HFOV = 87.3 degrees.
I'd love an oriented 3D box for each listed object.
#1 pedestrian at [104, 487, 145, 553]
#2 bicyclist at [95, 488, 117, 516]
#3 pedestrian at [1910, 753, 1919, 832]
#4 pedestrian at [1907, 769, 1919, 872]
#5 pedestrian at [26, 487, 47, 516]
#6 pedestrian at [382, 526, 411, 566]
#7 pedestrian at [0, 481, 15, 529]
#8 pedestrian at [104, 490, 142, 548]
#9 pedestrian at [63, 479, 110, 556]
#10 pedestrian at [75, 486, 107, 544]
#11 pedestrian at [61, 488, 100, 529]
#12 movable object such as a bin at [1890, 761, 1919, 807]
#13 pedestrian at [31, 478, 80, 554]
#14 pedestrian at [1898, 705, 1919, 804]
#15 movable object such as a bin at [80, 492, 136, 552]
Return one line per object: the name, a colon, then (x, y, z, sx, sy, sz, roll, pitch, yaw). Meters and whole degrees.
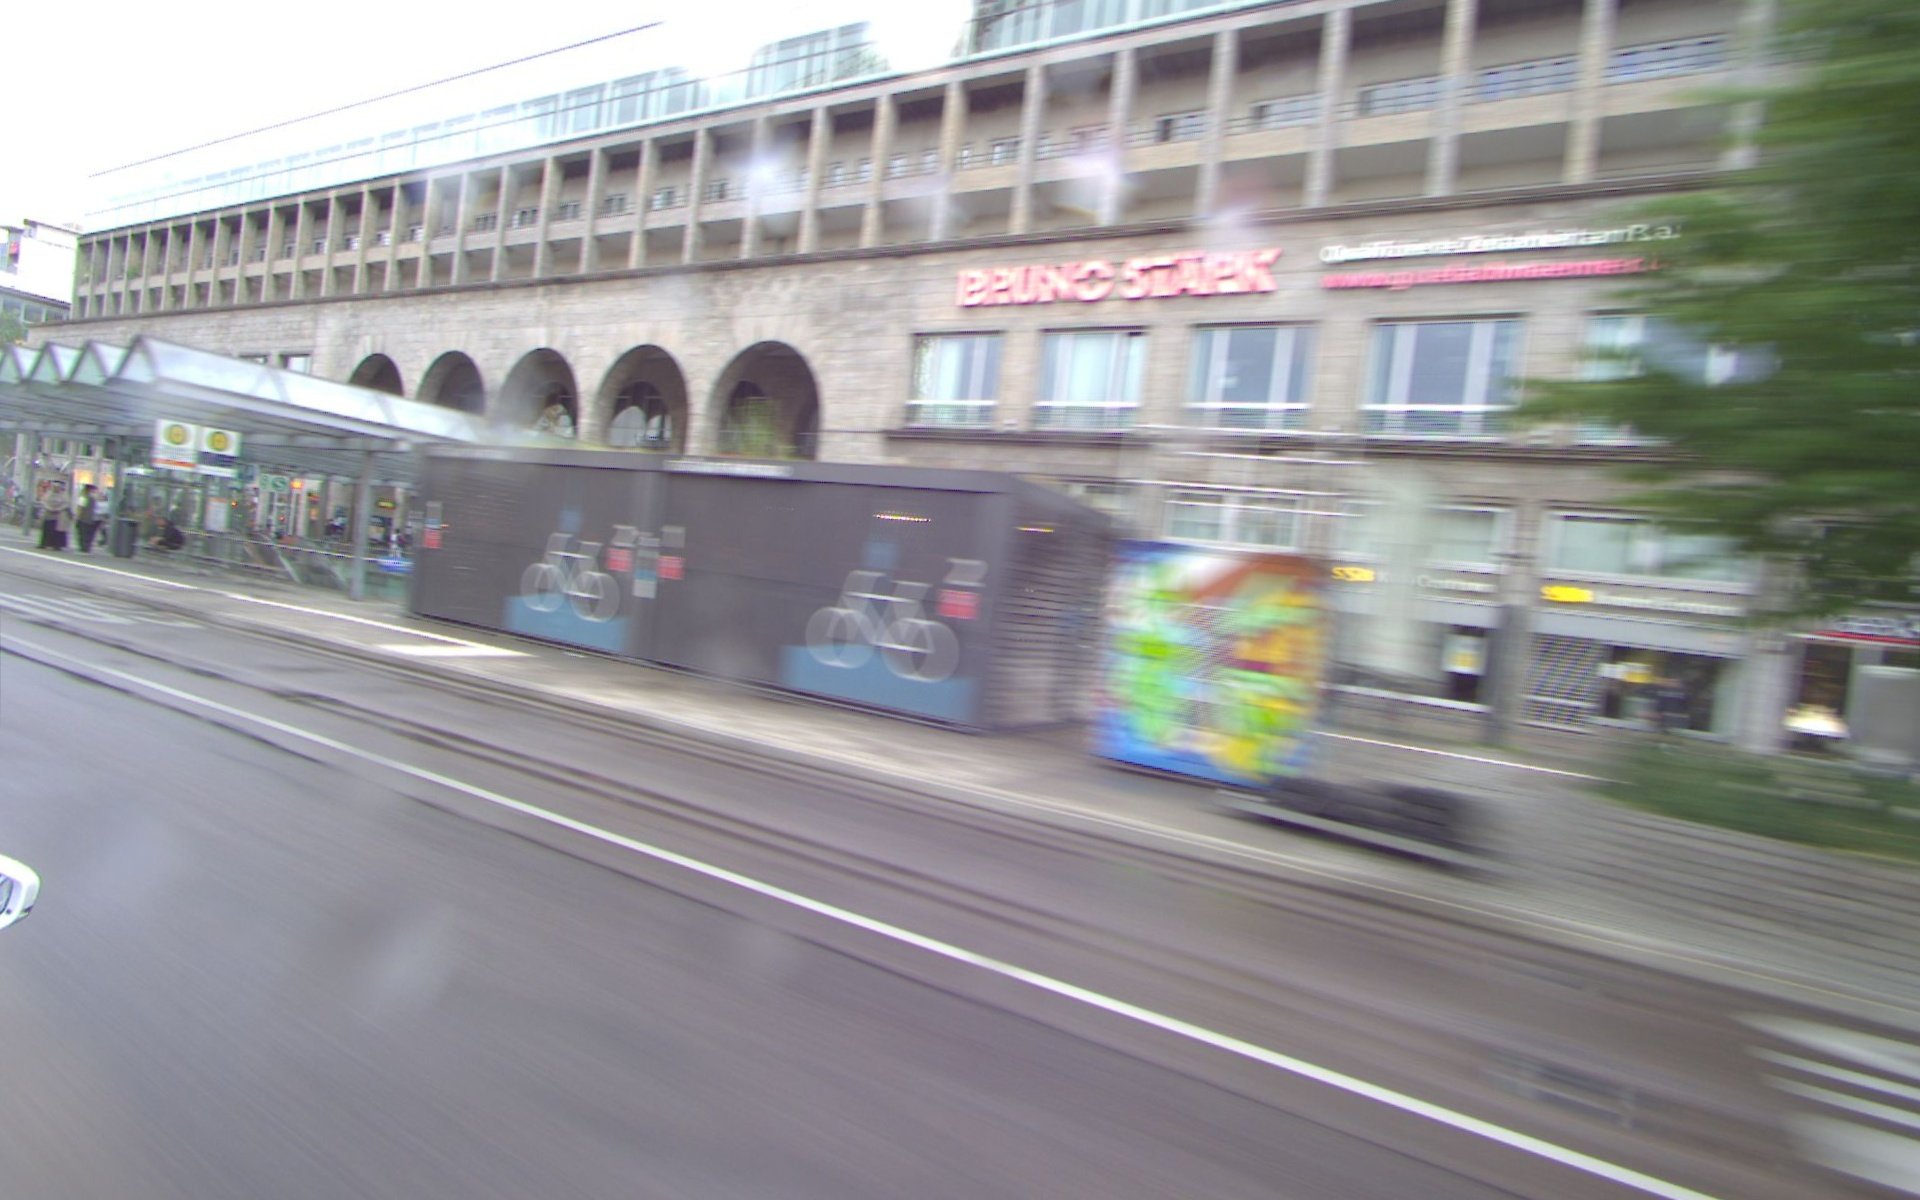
pedestrian: (-24.942, -2.378, 30.030, 0.748, 1.859, 0.752, 7, 0, -44)
bicyclist: (-50.783, -5.829, 59.819, 0.892, 1.574, 0.650, 7, 1, 32)
pedestrian: (13.527, 2.328, 13.661, 0.625, 1.772, 0.532, 7, 0, 29)
pedestrian: (10.125, 1.886, 9.764, 1.058, 1.772, 0.641, 7, 0, 29)
pedestrian: (-62.330, -6.653, 67.865, 0.775, 1.815, 0.732, 7, 1, 29)
pedestrian: (-25.803, -2.468, 46.065, 0.740, 1.731, 0.760, 7, 0, 30)
pedestrian: (-35.772, -3.581, 37.304, 0.887, 1.716, 0.749, 7, 0, 33)
pedestrian: (-28.838, -2.788, 34.671, 0.582, 1.853, 0.607, 7, 0, 1)
pedestrian: (-22.536, -2.119, 25.961, 0.631, 1.859, 0.628, 7, 0, 32)
pedestrian: (-29.825, -2.923, 34.529, 0.616, 1.882, 0.606, 7, 1, 39)
pedestrian: (-40.811, -4.237, 46.713, 0.973, 1.716, 0.854, 7, 0, -19)
movable object such as a bin: (17.111, 3.306, 18.009, 0.470, 0.733, 0.572, 7, 0, 29)
pedestrian: (-23.645, -2.186, 26.291, 0.565, 1.859, 0.676, 7, 0, 32)
pedestrian: (17.685, 2.837, 18.362, 0.563, 1.772, 0.527, 7, 1, 30)
movable object such as a bin: (-26.312, -2.396, 31.071, 1.028, 1.672, 0.665, 7, 0, 7)
